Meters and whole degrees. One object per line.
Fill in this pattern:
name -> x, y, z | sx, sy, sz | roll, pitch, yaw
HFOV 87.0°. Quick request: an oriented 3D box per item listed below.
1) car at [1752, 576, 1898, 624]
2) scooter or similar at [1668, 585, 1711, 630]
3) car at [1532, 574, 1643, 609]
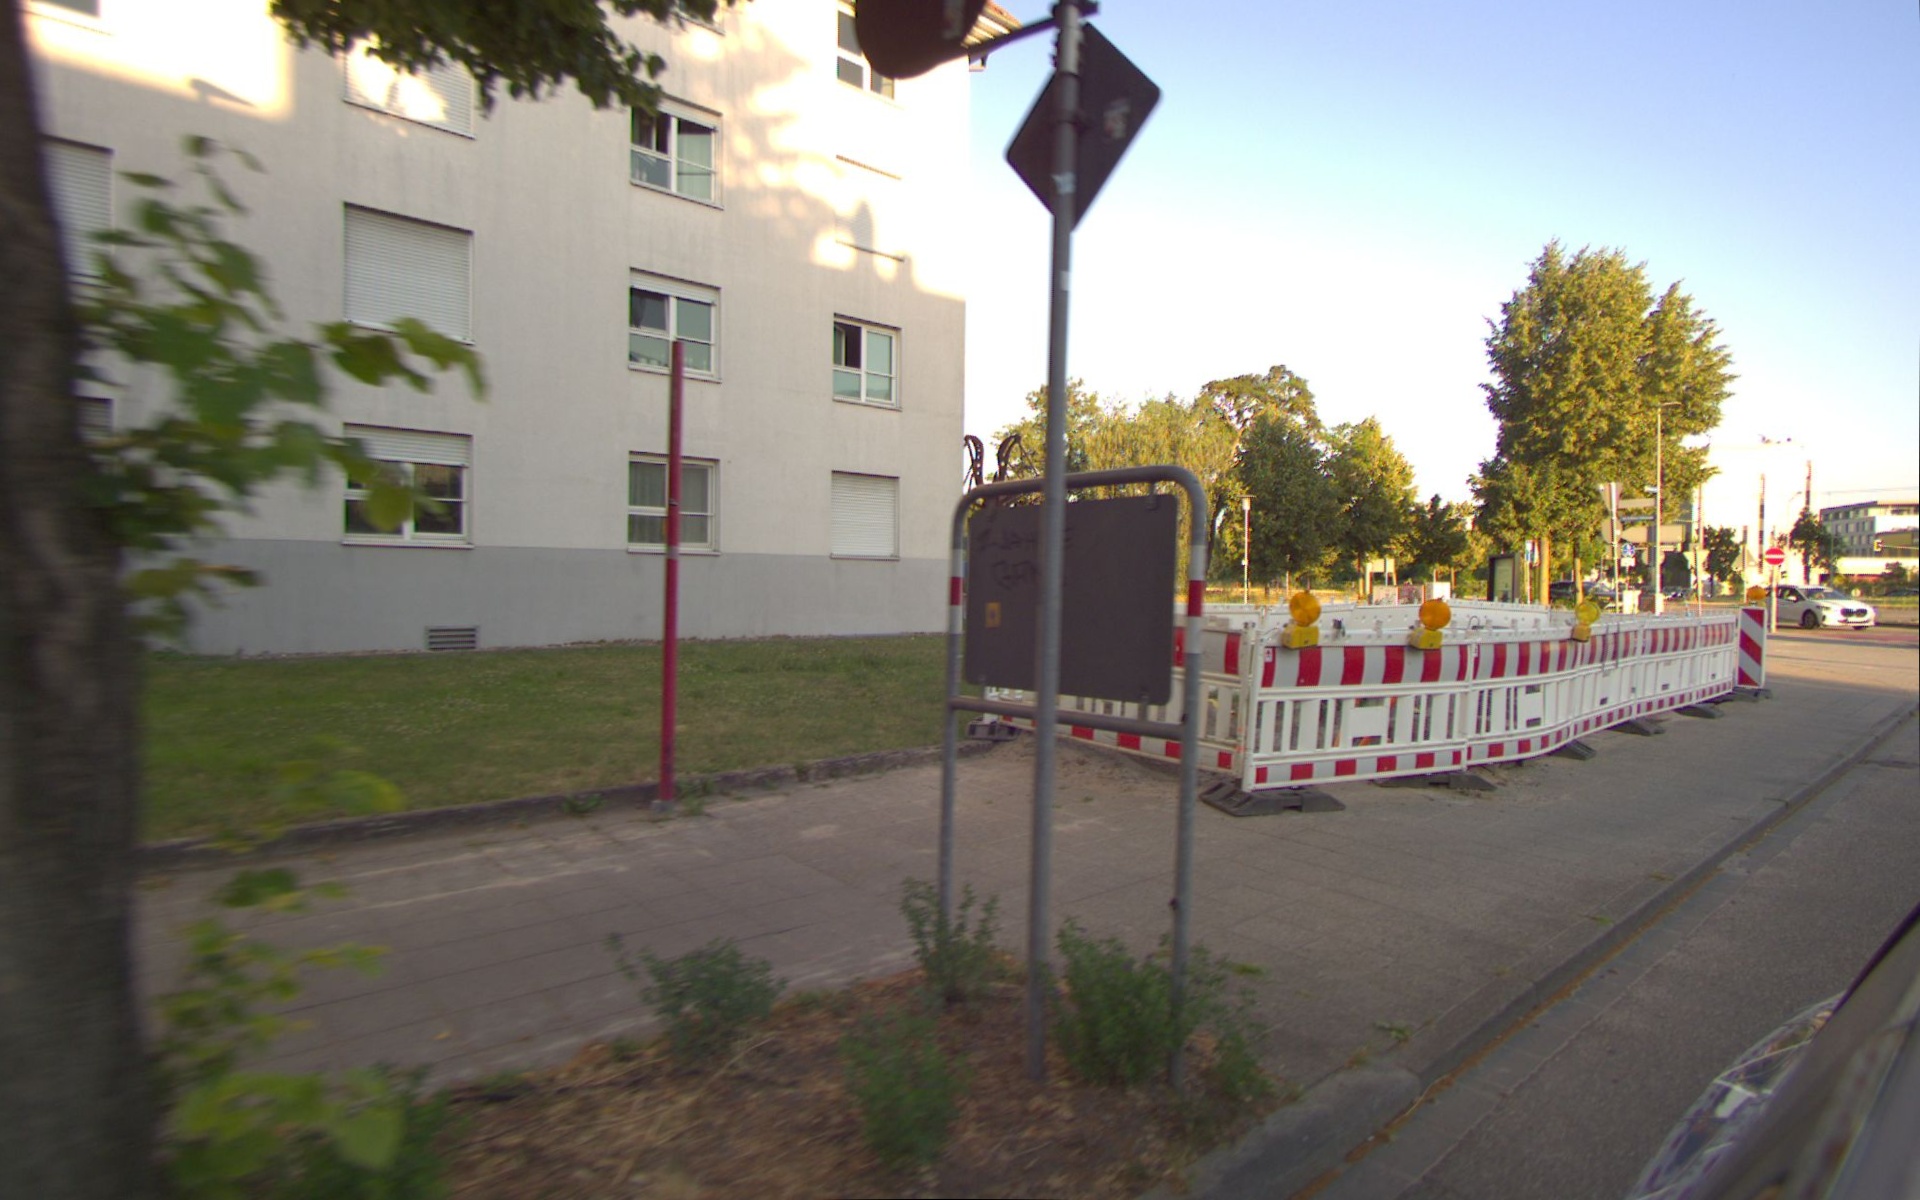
car -> 31.065, -0.049, 36.537 | 1.760, 1.576, 4.405 | -1, 2, 5
scooter or similar -> 21.017, 0.220, 29.157 | 1.141, 1.251, 0.197 | -1, 1, -6
car -> 30.570, -0.456, 49.451 | 1.754, 1.576, 4.418 | -2, 2, -23
